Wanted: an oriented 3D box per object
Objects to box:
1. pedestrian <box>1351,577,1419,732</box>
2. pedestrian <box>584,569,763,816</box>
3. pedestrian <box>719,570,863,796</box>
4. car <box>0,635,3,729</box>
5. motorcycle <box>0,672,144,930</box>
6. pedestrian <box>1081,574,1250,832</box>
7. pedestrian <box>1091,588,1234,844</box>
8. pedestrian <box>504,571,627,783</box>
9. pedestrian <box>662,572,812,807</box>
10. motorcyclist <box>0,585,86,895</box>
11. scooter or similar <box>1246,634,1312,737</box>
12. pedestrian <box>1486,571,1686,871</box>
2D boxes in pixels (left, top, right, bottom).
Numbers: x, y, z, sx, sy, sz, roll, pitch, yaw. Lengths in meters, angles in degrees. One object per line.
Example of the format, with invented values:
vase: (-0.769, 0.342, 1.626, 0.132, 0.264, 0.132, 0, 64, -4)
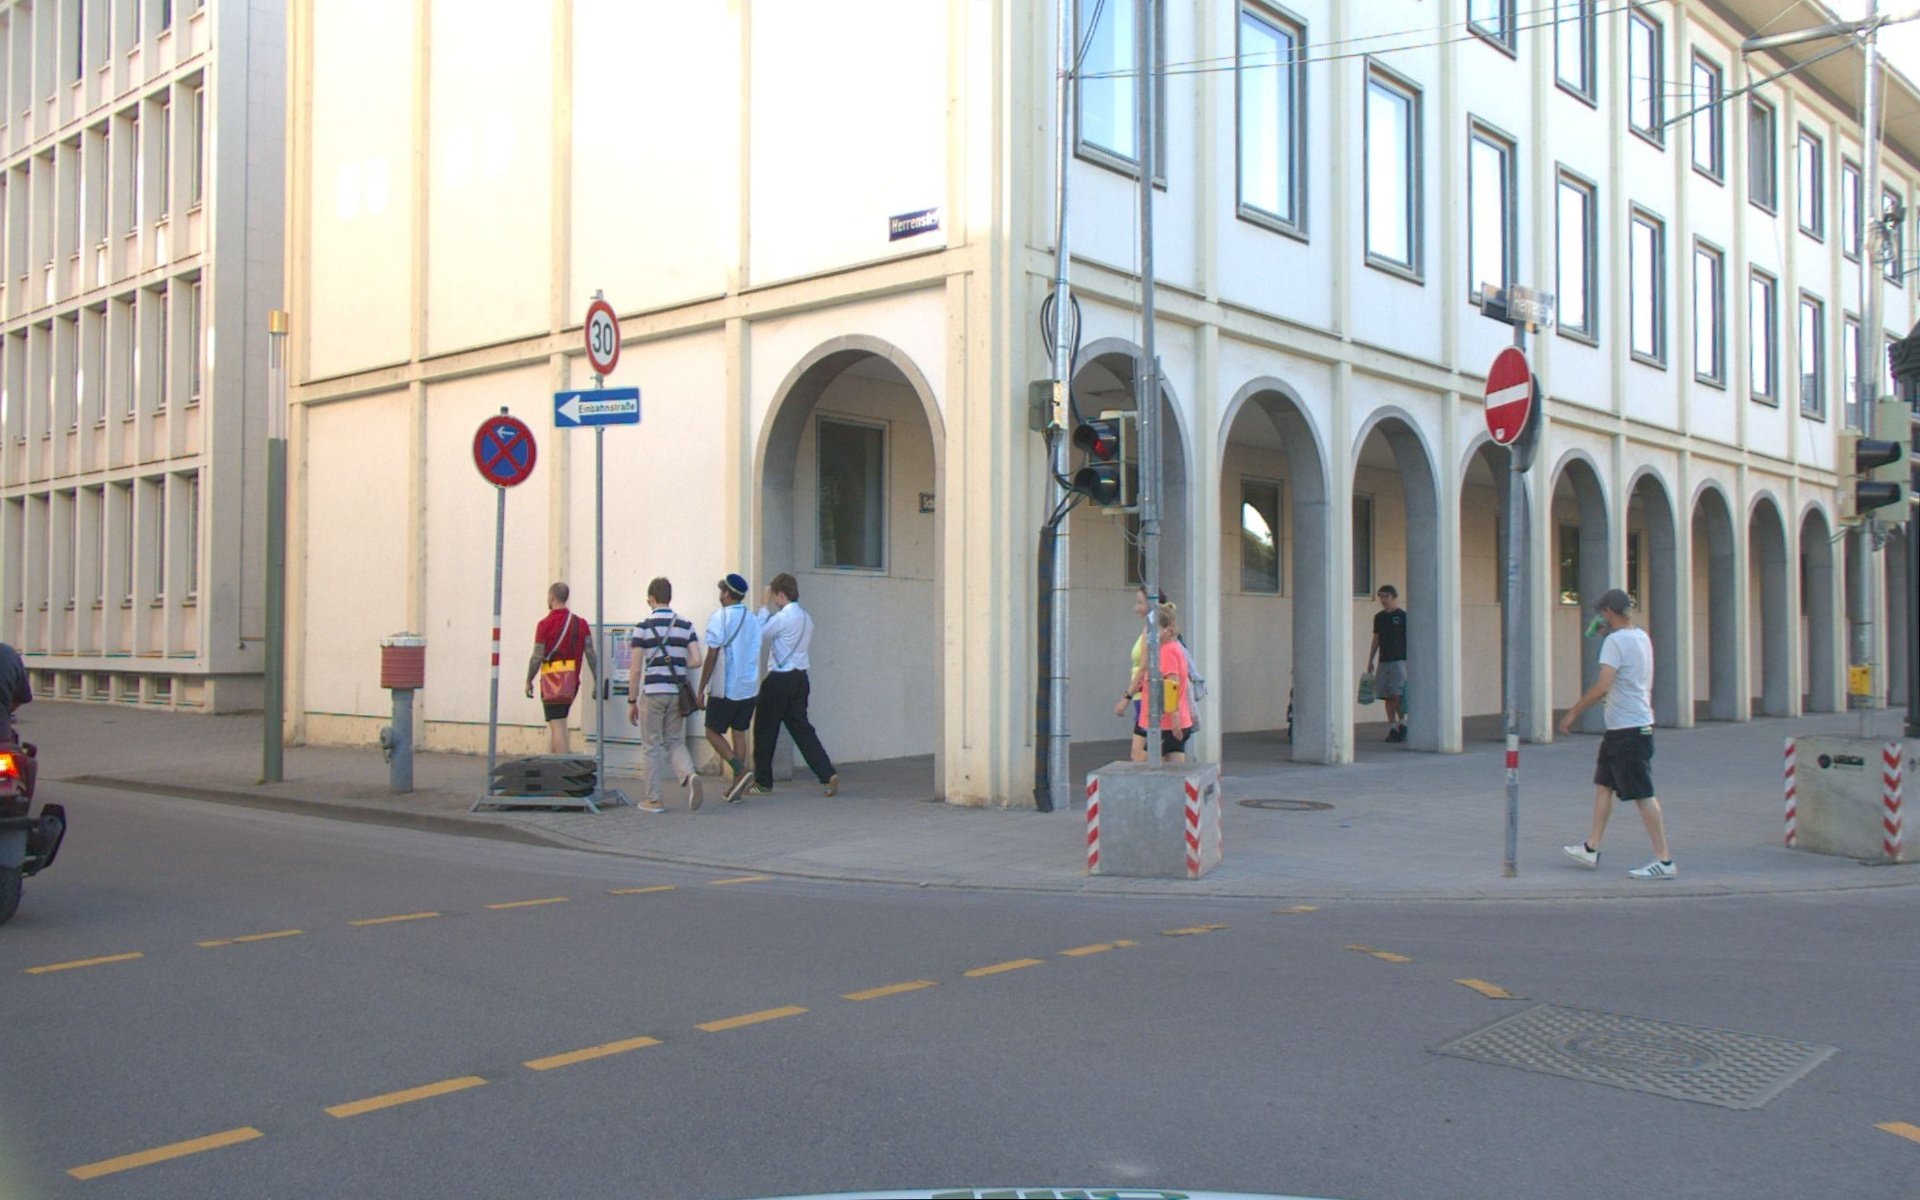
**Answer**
pedestrian: (5.301, 0.666, 20.625, 0.628, 1.872, 0.726, -1, 2, 28)
pedestrian: (-2.268, 0.700, 13.042, 1.224, 1.833, 0.712, -2, 1, 41)
pedestrian: (-1.425, 0.673, 13.921, 0.924, 1.808, 0.707, -2, 1, 41)
car: (-10.216, 1.056, 14.891, 1.851, 1.498, 3.934, 3, -3, -44)
motorcycle: (-5.496, 1.003, 8.830, 2.525, 1.204, 0.906, -2, -1, 34)
pedestrian: (1.469, 0.701, 11.842, 0.950, 1.739, 0.672, -1, 2, 41)
pedestrian: (1.382, 0.759, 11.282, 0.714, 1.652, 0.616, -1, 2, 41)
pedestrian: (-3.576, 0.675, 14.998, 0.761, 1.833, 0.707, -2, 1, 41)
pedestrian: (-1.811, 0.698, 13.404, 0.924, 1.808, 0.707, -2, 1, 41)
motorcyclist: (-5.447, 0.732, 8.790, 1.213, 1.587, 0.954, -2, -1, 34)
scooter or similar: (3.936, 1.038, 20.379, 0.605, 1.178, 0.958, -1, 2, 22)
pedestrian: (3.908, 0.714, 10.325, 0.960, 1.759, 0.794, 0, -1, 41)
